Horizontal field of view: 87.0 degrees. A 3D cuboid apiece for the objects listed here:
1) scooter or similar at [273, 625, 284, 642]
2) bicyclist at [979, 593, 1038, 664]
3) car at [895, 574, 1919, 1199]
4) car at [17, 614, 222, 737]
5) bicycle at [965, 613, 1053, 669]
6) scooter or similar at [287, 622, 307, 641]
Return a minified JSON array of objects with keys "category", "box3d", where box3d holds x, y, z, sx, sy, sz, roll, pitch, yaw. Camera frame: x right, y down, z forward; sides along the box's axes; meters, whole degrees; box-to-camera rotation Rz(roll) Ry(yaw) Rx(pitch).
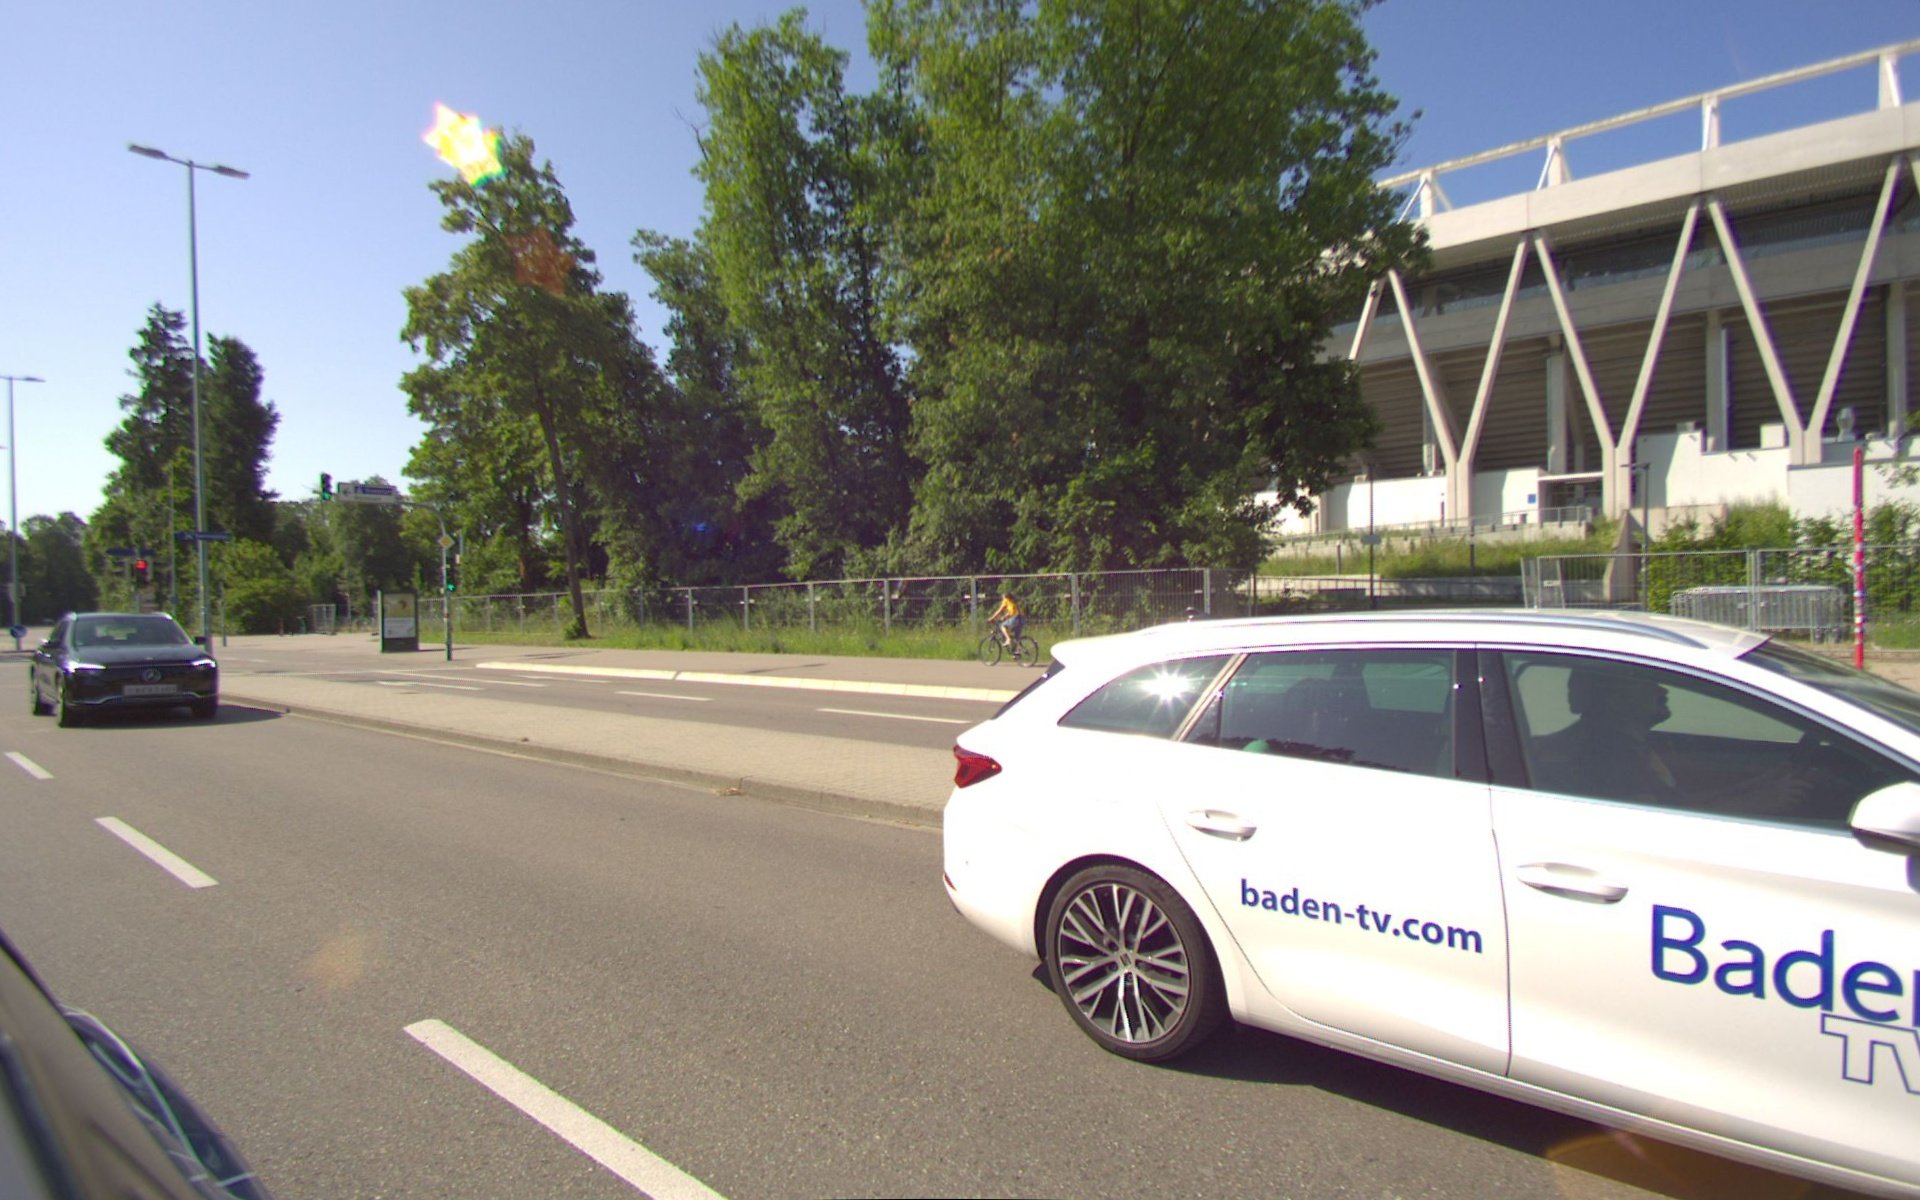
[{"category":"scooter or similar","box3d":[-45.157,2.220,67.066,0.390,1.154,1.198,-1,-1,-42]},{"category":"bicyclist","box3d":[1.063,0.616,22.084,1.056,1.478,0.653,-2,1,40]},{"category":"car","box3d":[2.087,0.684,2.907,4.717,1.437,1.707,-2,-2,41]},{"category":"car","box3d":[-12.966,1.045,15.517,4.271,1.608,1.786,-1,-1,41]},{"category":"bicycle","box3d":[1.046,0.892,22.138,1.877,1.144,0.653,-2,1,40]},{"category":"scooter or similar","box3d":[-44.401,2.121,67.806,0.393,1.231,1.075,-2,0,18]}]
